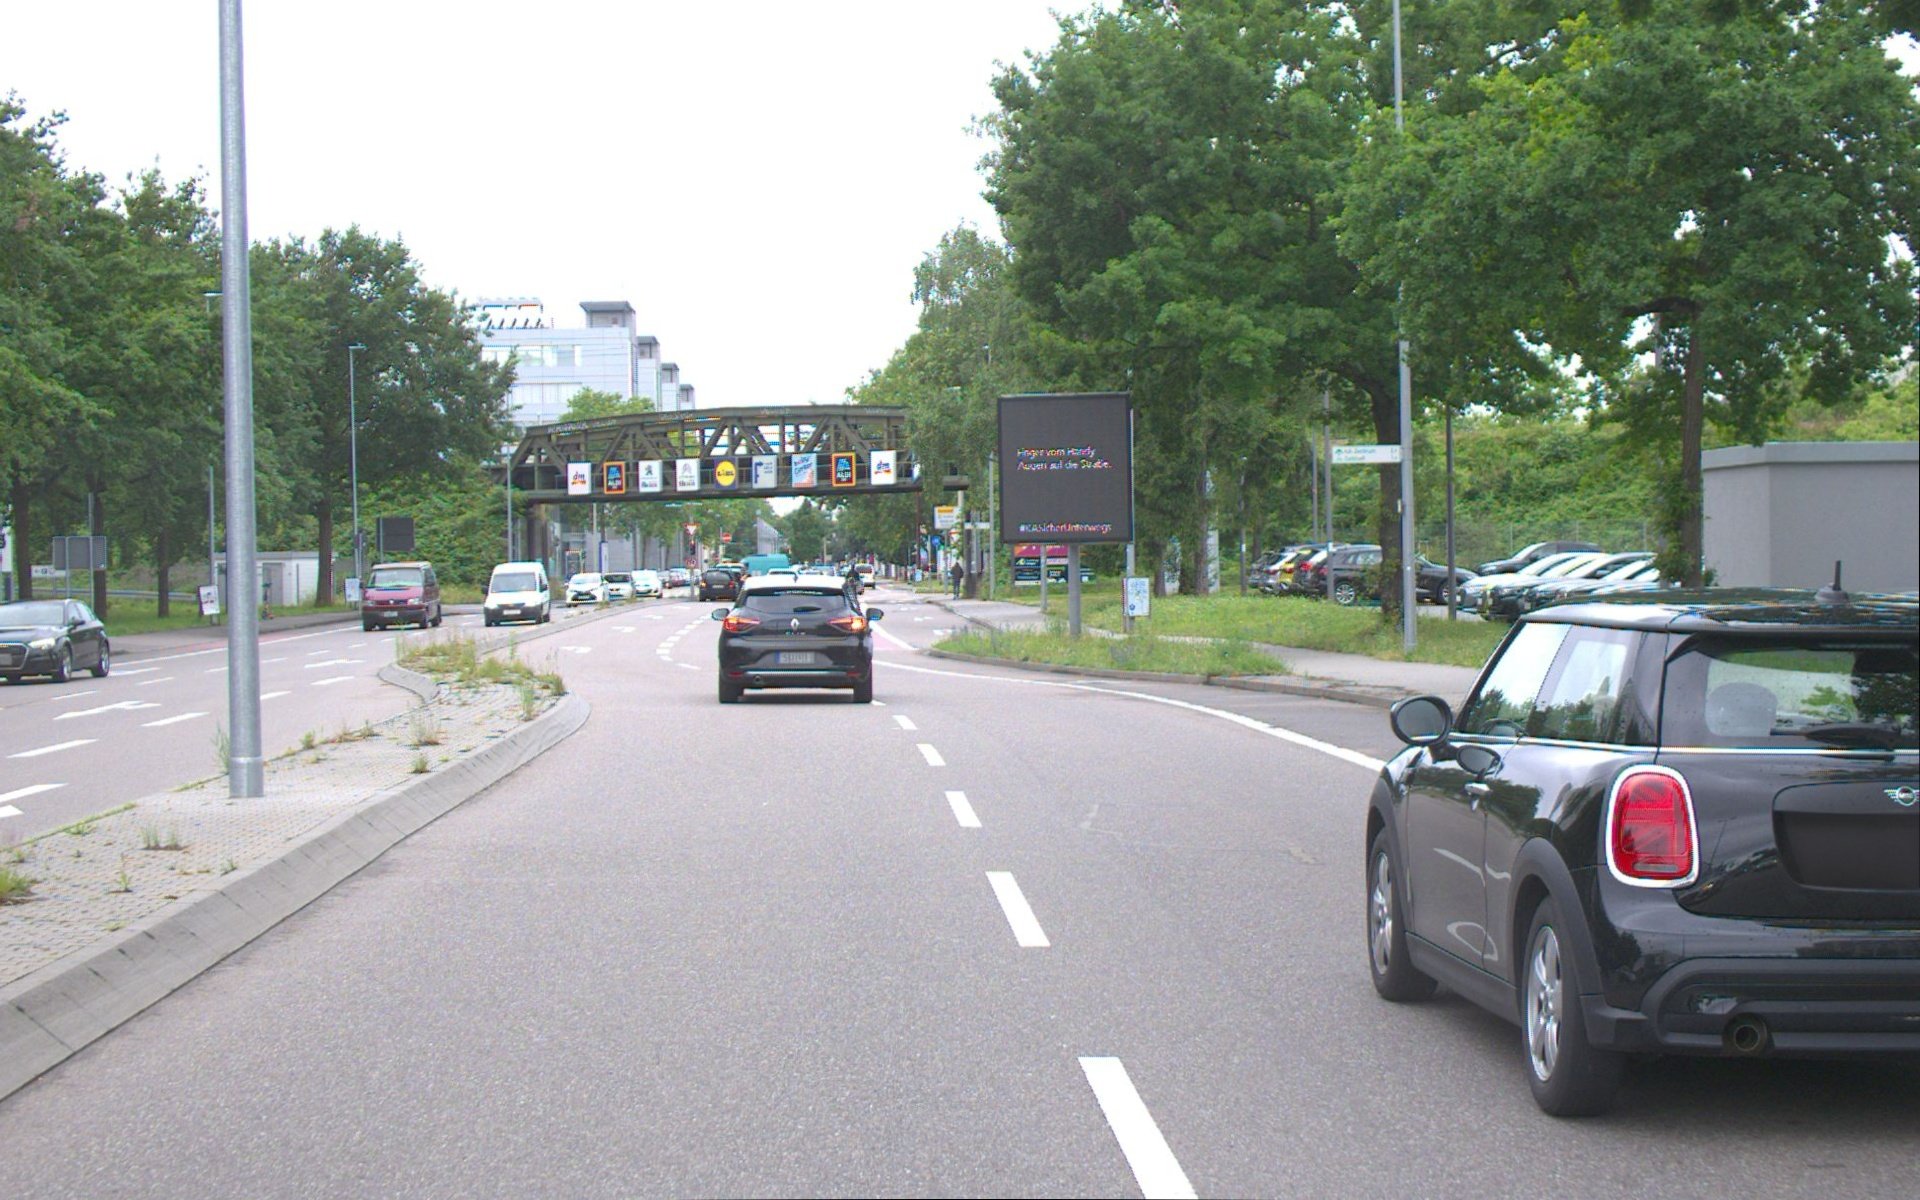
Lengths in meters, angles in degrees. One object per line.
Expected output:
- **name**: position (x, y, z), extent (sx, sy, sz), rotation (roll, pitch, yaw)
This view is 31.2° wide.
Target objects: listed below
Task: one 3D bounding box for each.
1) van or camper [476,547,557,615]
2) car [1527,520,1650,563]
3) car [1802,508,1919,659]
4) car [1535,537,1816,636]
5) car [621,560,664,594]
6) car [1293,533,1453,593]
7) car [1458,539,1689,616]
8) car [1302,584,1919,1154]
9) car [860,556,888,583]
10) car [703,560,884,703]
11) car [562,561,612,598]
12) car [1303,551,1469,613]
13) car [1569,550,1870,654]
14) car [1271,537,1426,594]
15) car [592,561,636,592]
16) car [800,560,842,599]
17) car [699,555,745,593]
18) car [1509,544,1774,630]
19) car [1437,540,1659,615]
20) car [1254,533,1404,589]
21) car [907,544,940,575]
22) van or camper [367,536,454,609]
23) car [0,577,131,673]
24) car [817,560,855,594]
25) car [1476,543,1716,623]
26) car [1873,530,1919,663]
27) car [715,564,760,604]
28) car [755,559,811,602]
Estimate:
- **van or camper**: position (-12.725, -0.564, 98.863), extent (1.755, 1.741, 4.407), rotation (-4, 1, -2)
- **car**: position (21.677, -2.021, 118.695), extent (3.987, 1.431, 1.730), rotation (0, 2, 5)
- **car**: position (12.883, -0.062, 42.027), extent (4.550, 1.696, 2.000), rotation (5, 2, 0)
- **car**: position (12.315, -0.247, 59.356), extent (4.343, 1.498, 1.930), rotation (2, 1, -2)
- **car**: position (-17.146, -1.259, 185.960), extent (1.940, 1.670, 3.782), rotation (0, 3, 1)
- **car**: position (10.544, -0.957, 87.899), extent (3.987, 1.431, 1.730), rotation (0, 2, 5)
- **car**: position (11.888, -0.443, 66.739), extent (4.085, 1.431, 1.847), rotation (0, 2, -3)
- **car**: position (2.259, 0.678, 10.458), extent (1.785, 1.411, 3.643), rotation (-1, 0, -5)
- **car**: position (-6.230, -2.214, 249.021), extent (1.950, 1.809, 4.001), rotation (0, 3, 0)
- **car**: position (-1.841, 0.317, 39.056), extent (1.757, 1.429, 4.000), rotation (-1, 2, 1)
- **car**: position (-16.080, -0.894, 148.457), extent (1.754, 1.441, 3.339), rotation (0, 3, 1)
- **car**: position (10.525, -0.457, 85.104), extent (3.987, 1.431, 1.730), rotation (0, 2, 5)
- **car**: position (12.467, 0.017, 56.624), extent (4.445, 1.566, 2.000), rotation (-2, 1, -2)
- **car**: position (10.249, -0.921, 90.912), extent (3.987, 1.431, 1.730), rotation (0, 2, 5)
- **car**: position (-16.570, -1.119, 164.670), extent (1.719, 1.366, 3.440), rotation (0, 3, 1)
- **car**: position (-7.076, -1.055, 175.287), extent (1.950, 1.809, 4.001), rotation (0, 3, 0)
- **car**: position (-11.217, -1.223, 161.994), extent (1.884, 1.656, 3.782), rotation (0, 3, 1)
- **car**: position (12.203, -0.241, 61.721), extent (4.343, 1.483, 1.843), rotation (0, 1, -2)
- **car**: position (11.787, -0.463, 69.055), extent (4.085, 1.431, 1.730), rotation (0, 2, -3)
- **car**: position (9.992, -1.064, 93.260), extent (3.987, 1.431, 1.730), rotation (0, 2, 5)
- **car**: position (-2.273, -2.524, 214.627), extent (1.950, 1.809, 4.001), rotation (0, 3, 0)
- **van or camper**: position (-15.879, -0.812, 99.555), extent (1.875, 1.979, 4.890), rotation (-2, 1, -2)
- **car**: position (-15.665, 0.426, 58.067), extent (1.918, 1.497, 4.251), rotation (-3, 0, 5)
- **car**: position (-6.687, -1.263, 185.933), extent (1.884, 1.656, 3.782), rotation (0, 3, 1)
- **car**: position (11.879, -0.326, 64.332), extent (4.085, 1.431, 1.822), rotation (0, 2, -3)
- **car**: position (12.883, 0.124, 39.427), extent (4.175, 1.441, 1.960), rotation (5, 2, 0)
- **car**: position (-10.915, -0.786, 168.763), extent (1.950, 1.809, 4.001), rotation (0, 3, 0)
- **car**: position (-7.489, -0.825, 145.667), extent (2.135, 1.656, 3.782), rotation (0, 3, 1)
